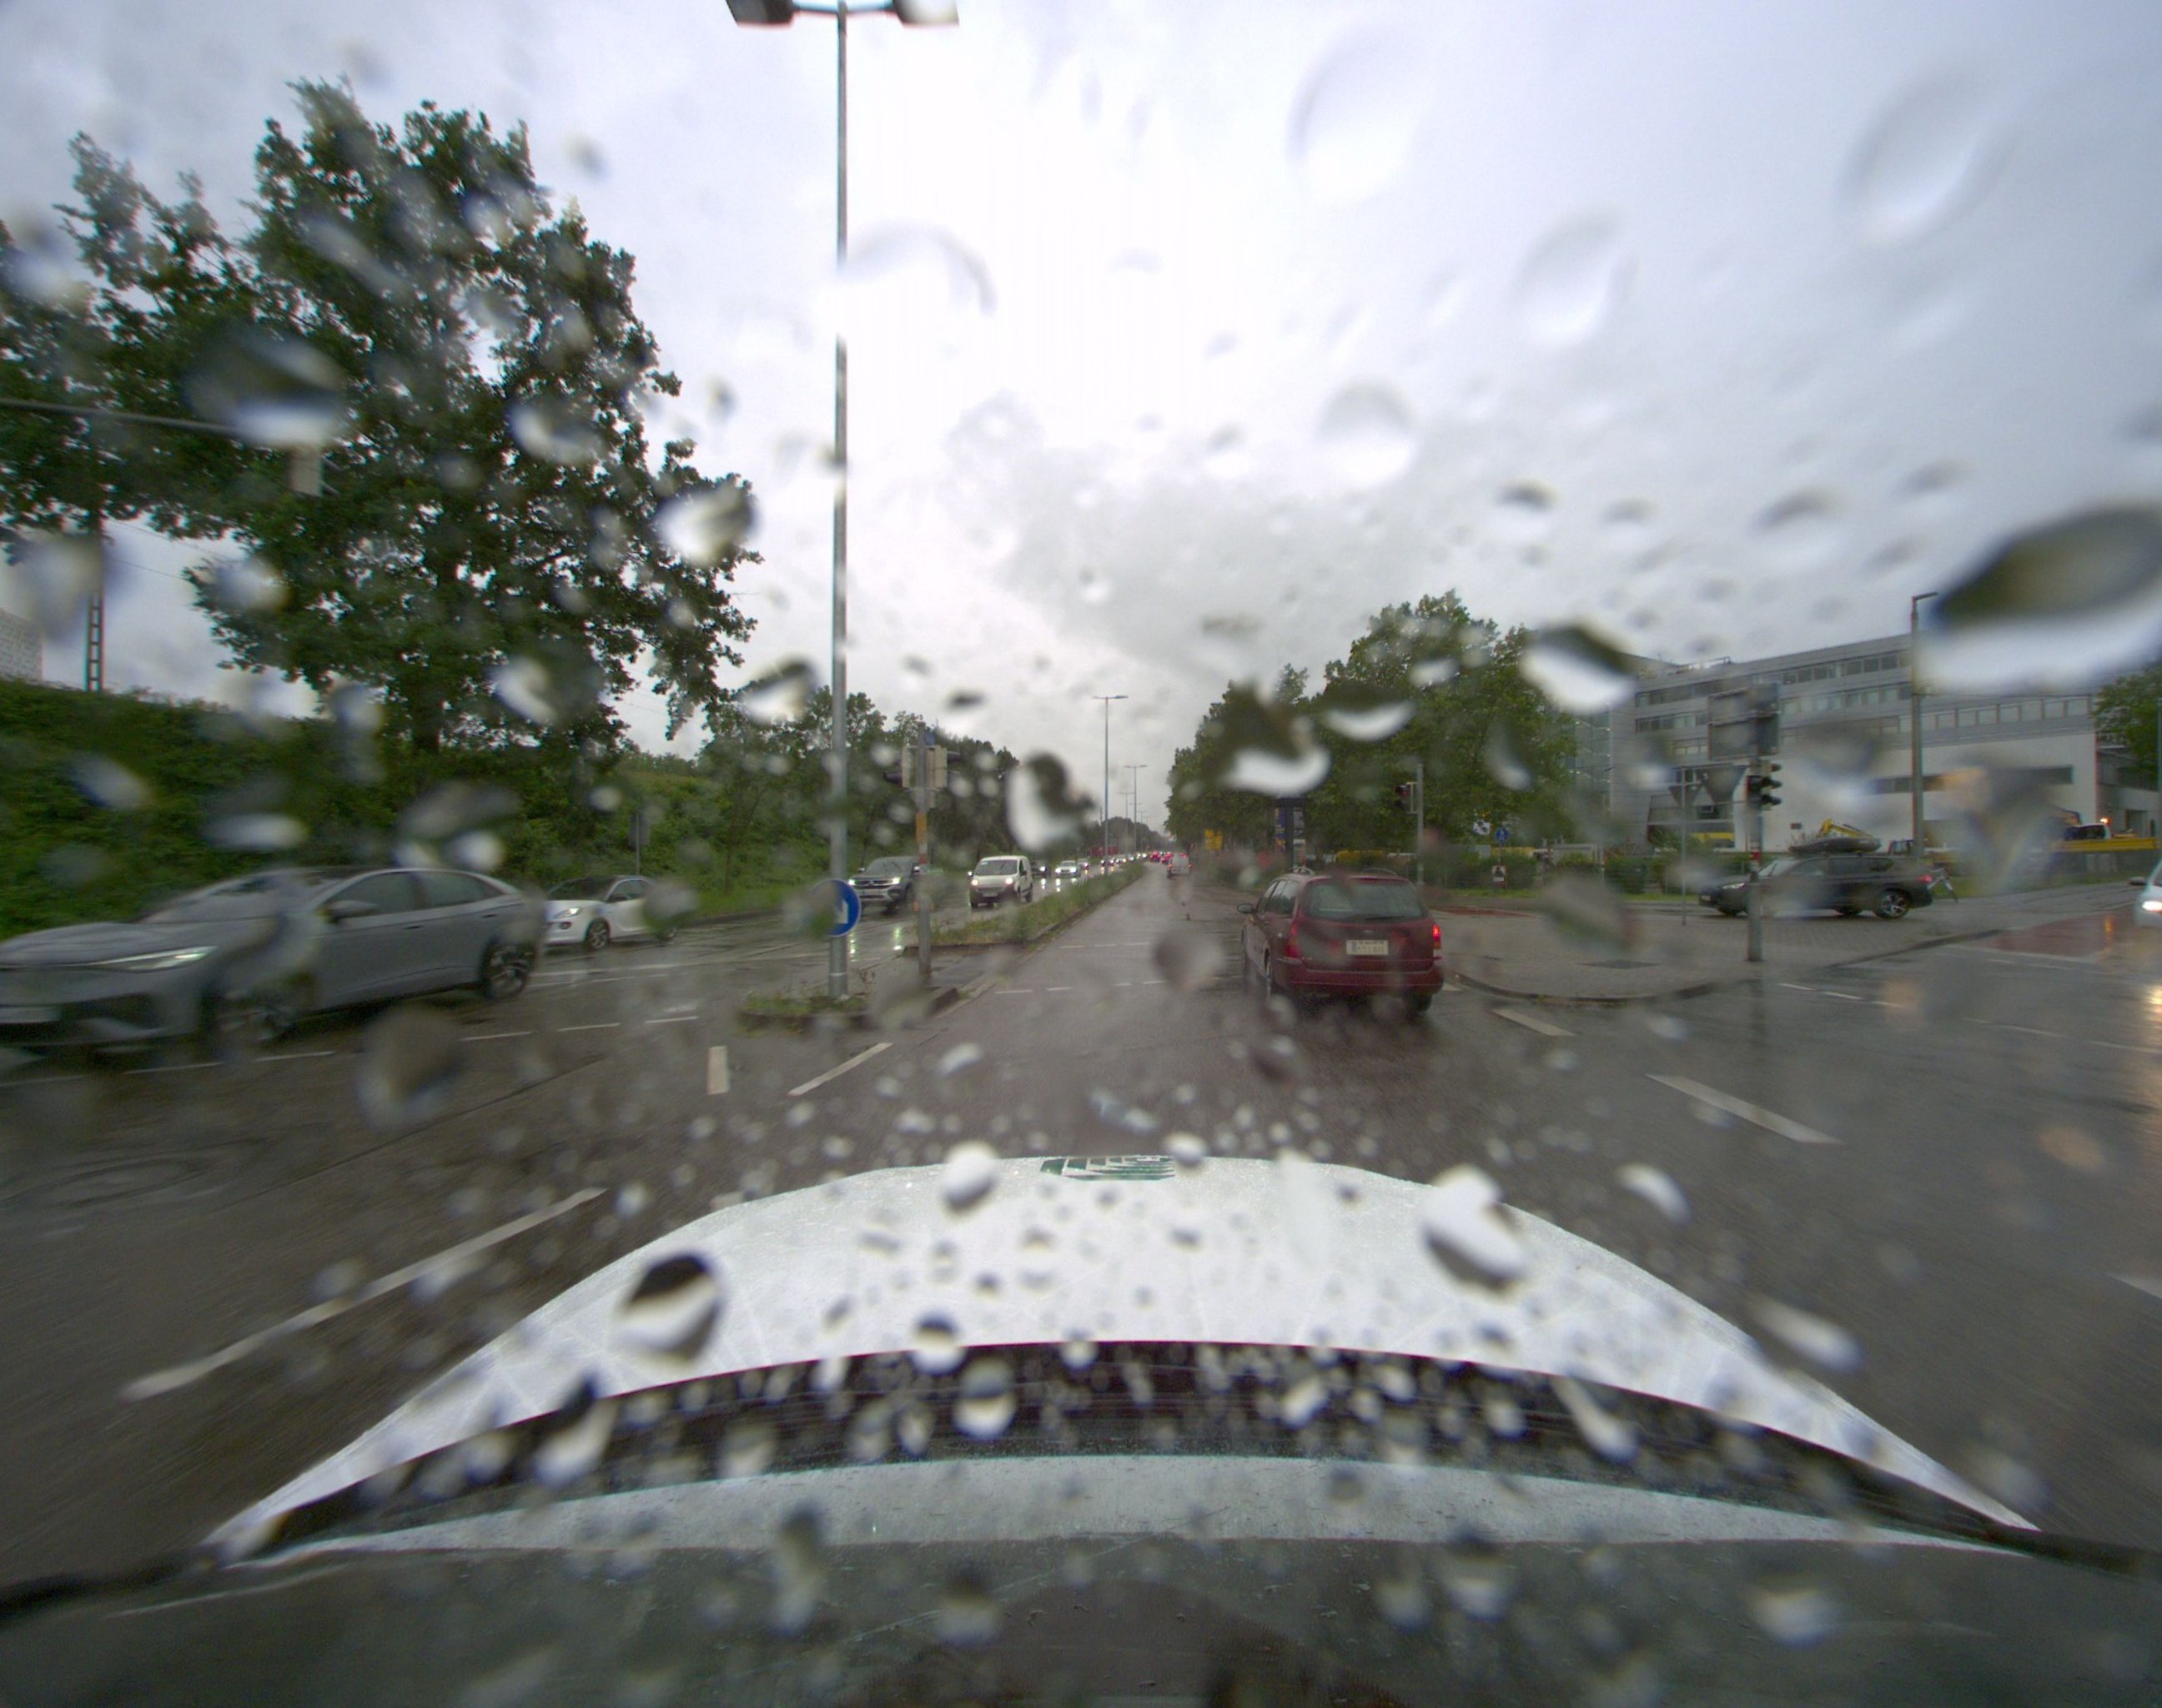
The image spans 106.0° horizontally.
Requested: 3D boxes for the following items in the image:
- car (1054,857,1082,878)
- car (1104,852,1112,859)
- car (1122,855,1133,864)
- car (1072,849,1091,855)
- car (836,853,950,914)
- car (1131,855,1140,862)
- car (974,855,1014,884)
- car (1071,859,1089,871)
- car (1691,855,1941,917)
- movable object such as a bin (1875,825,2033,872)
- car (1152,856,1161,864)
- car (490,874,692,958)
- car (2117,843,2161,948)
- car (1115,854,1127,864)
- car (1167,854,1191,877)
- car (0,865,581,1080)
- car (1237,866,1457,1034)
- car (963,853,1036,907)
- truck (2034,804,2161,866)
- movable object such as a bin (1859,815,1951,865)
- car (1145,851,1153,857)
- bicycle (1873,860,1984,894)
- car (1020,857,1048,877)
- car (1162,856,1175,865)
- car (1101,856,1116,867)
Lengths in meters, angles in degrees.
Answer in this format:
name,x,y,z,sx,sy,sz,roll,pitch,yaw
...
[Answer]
name,x,y,z,sx,sy,sz,roll,pitch,yaw
car,-1.118,1.147,71.562,1.953,1.702,4.290,-1,0,5
car,6.782,0.334,203.849,1.953,1.597,4.290,-1,0,5
car,9.531,1.117,166.869,1.953,1.597,4.291,-1,0,6
car,0.149,-0.491,201.883,4.296,1.597,1.951,-1,0,-30
car,-6.090,0.878,27.215,2.056,1.819,5.549,-1,0,5
car,12.717,0.988,189.423,1.953,1.597,4.291,-1,0,6
car,-5.572,0.961,52.768,1.735,1.702,4.290,2,0,5
car,-0.118,1.455,108.975,1.953,1.597,4.290,-1,0,5
car,19.183,0.816,21.495,4.598,1.524,1.806,-1,0,13
movable object such as a bin,58.643,-0.339,54.899,3.338,2.996,6.657,-1,0,-30
car,14.773,1.129,159.197,1.688,1.528,3.854,0,0,8
car,-9.841,1.178,16.742,1.583,1.404,3.828,-1,0,5
car,18.789,0.624,13.310,4.396,1.621,1.759,0,0,-31
car,7.073,0.838,143.646,1.953,1.597,4.291,-1,0,6
car,7.841,0.900,65.460,1.727,1.726,4.250,1,0,5
car,-7.693,0.924,8.509,1.755,1.586,4.816,-1,-1,3
car,2.877,0.936,9.602,1.634,1.465,3.738,2,0,5
car,-2.801,0.863,28.993,1.735,1.702,4.290,-2,0,5
truck,62.340,-1.069,47.813,3.338,3.507,7.815,-1,0,-29
movable object such as a bin,51.282,-0.820,50.715,3.338,2.996,3.299,-1,0,-30
car,16.785,0.009,201.572,1.688,1.528,3.854,0,0,8
bicycle,26.957,0.731,25.953,2.285,1.046,0.854,-1,-1,26
car,-4.209,1.172,73.724,1.953,1.702,4.290,-1,0,5
car,15.478,1.181,144.462,2.135,1.528,4.202,0,0,8
car,4.234,1.087,124.900,1.953,1.597,4.290,-1,0,5
